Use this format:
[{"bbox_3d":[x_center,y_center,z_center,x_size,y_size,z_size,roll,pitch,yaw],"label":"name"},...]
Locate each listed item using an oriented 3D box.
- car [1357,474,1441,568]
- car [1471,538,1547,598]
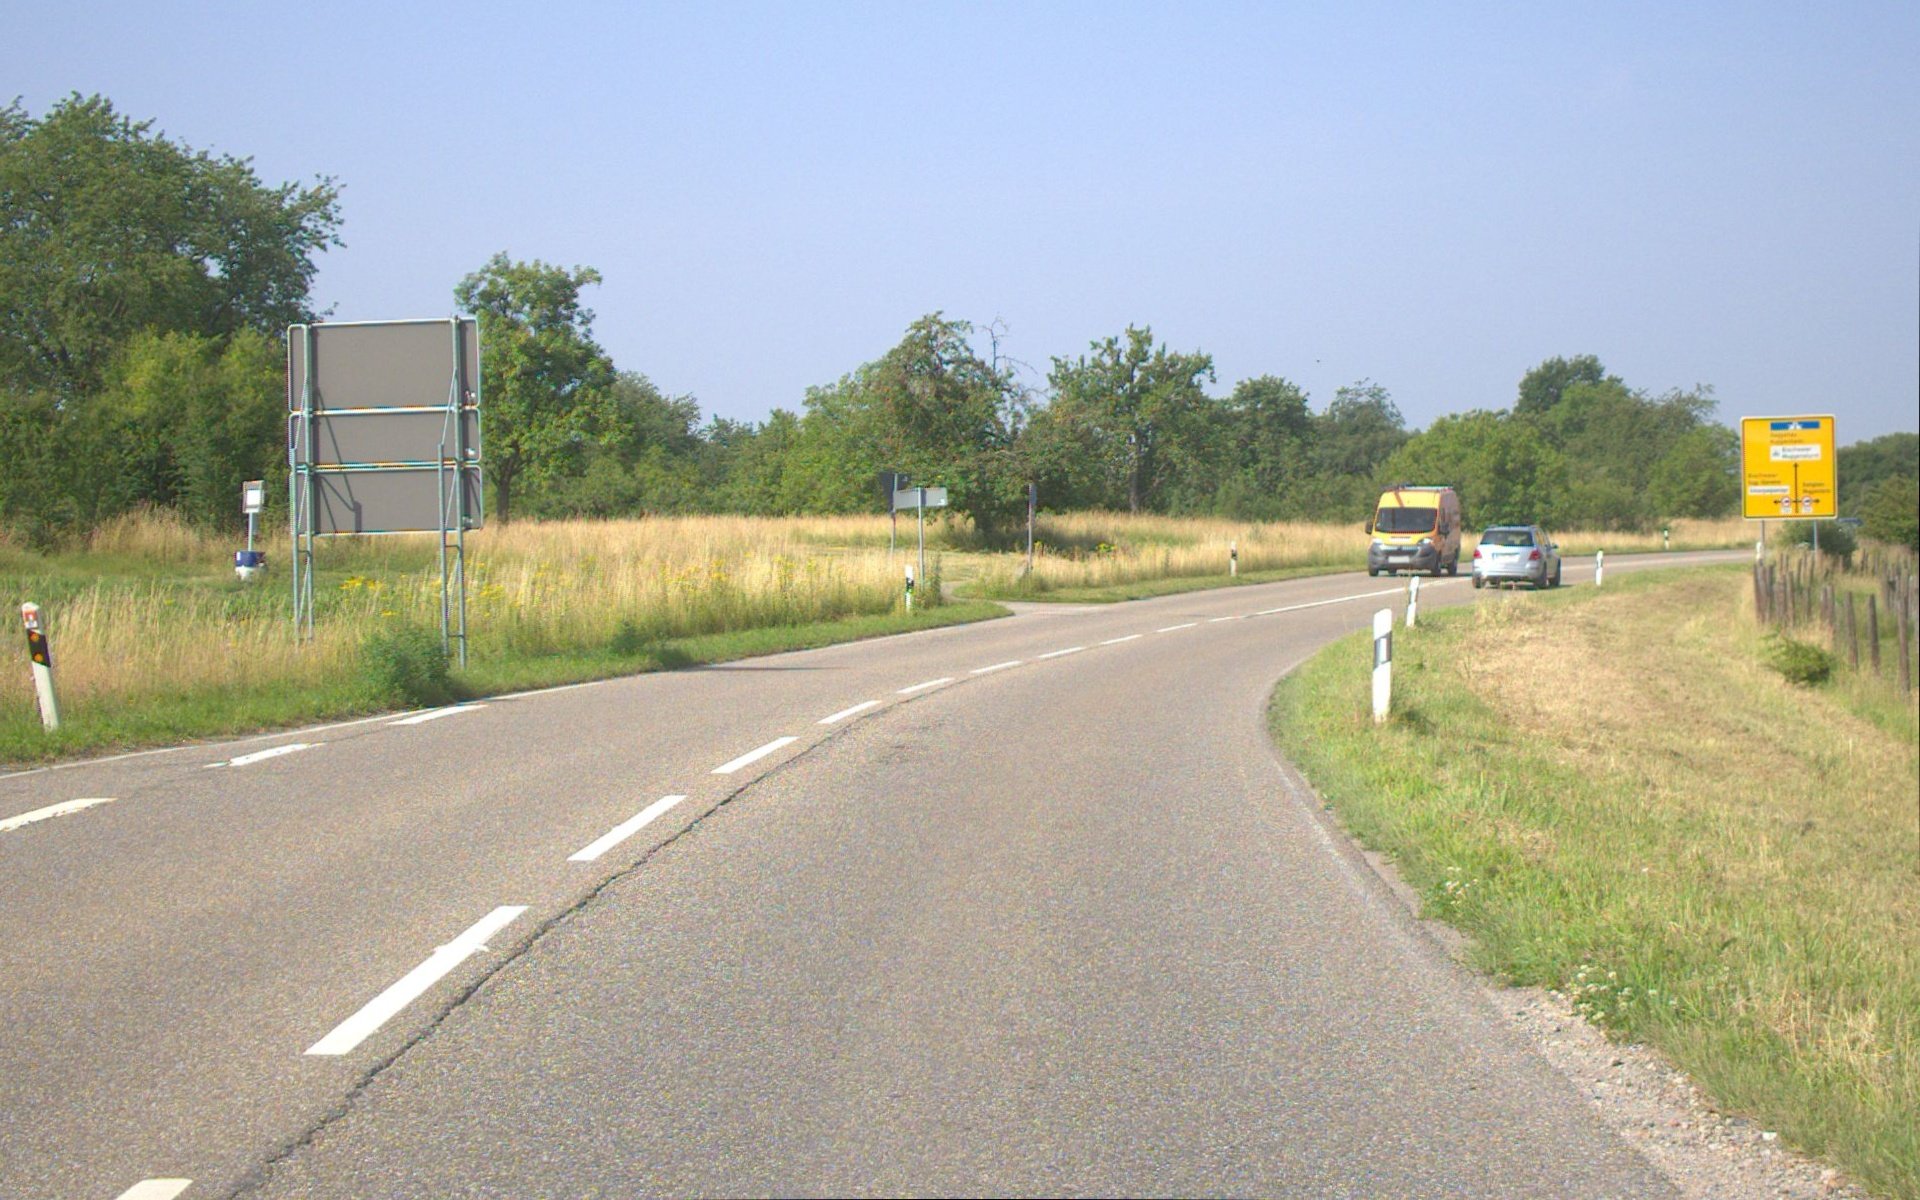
[{"bbox_3d":[12.942,-2.331,101.237,2.125,2.686,5.266,1,1,11],"label":"car"},{"bbox_3d":[14.376,-0.863,90.190,1.900,1.506,3.999,1,1,9],"label":"car"}]
